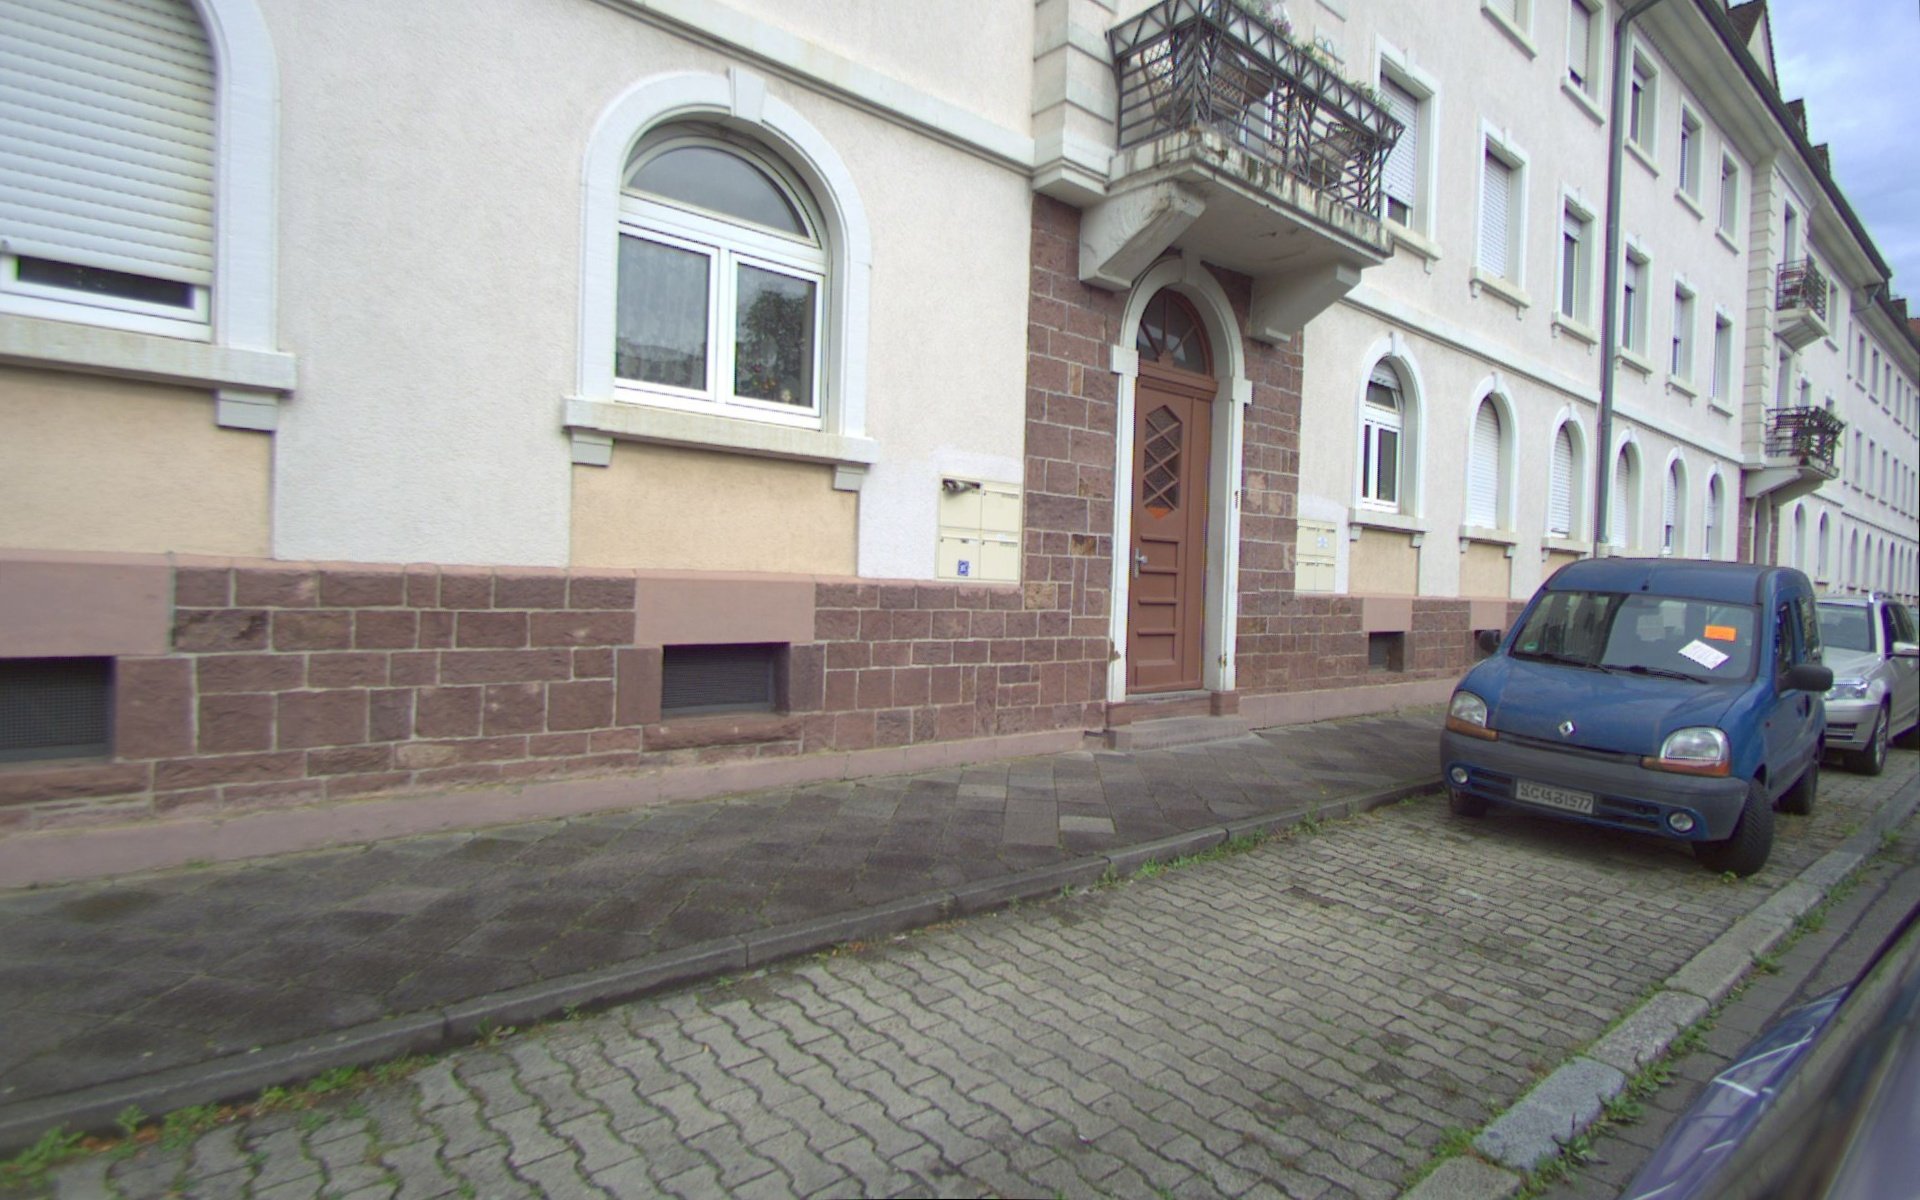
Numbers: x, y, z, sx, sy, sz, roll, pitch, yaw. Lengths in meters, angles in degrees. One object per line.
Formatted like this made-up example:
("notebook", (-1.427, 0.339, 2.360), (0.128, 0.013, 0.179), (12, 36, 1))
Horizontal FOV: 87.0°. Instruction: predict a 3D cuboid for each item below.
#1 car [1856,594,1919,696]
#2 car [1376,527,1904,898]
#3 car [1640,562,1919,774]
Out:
("car", (16.562, 0.771, 16.963), (3.884, 1.532, 1.686), (1, 4, -41))
("car", (4.882, 0.517, 7.047), (4.112, 1.807, 1.942), (1, 3, -41))
("car", (8.754, 0.571, 10.427), (4.055, 1.657, 1.775), (1, 4, -41))
